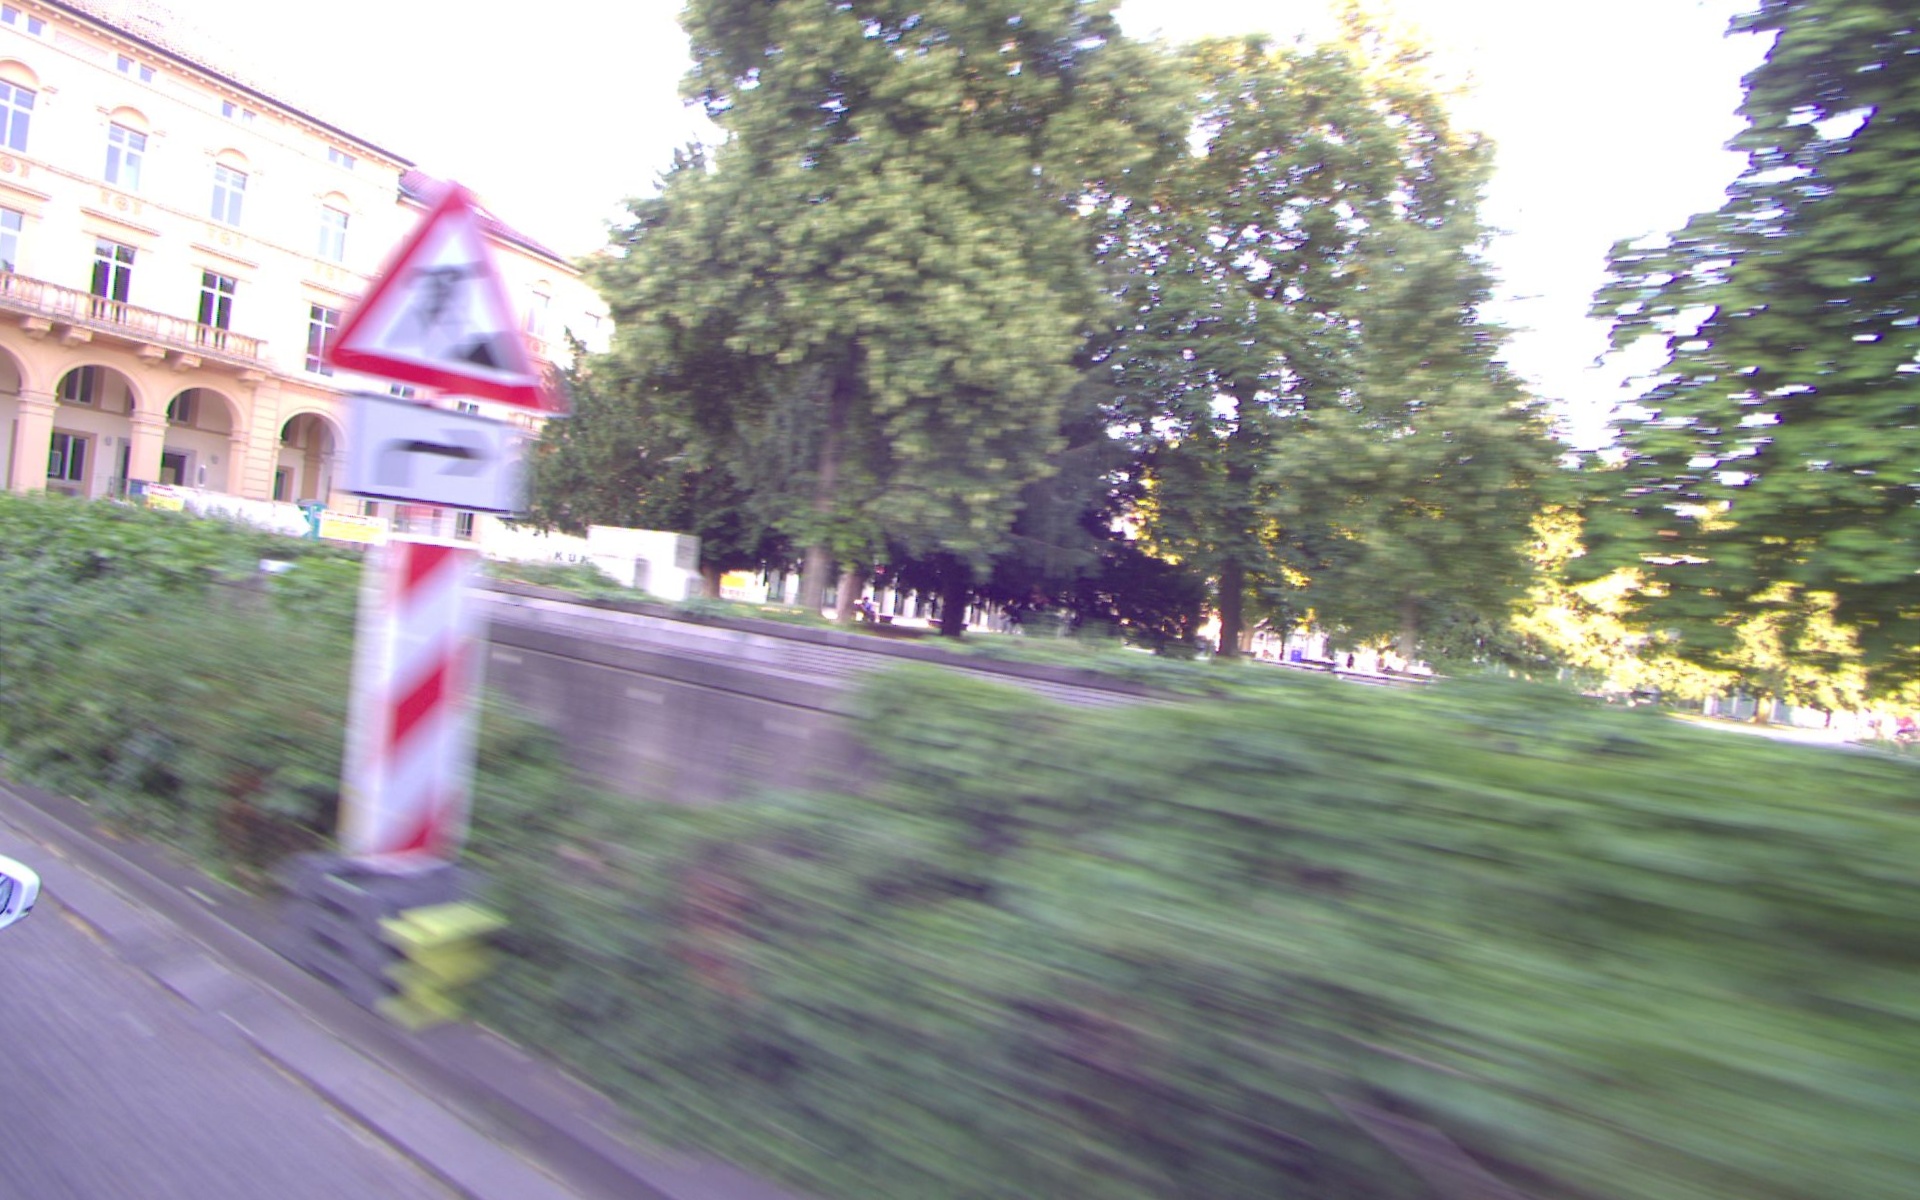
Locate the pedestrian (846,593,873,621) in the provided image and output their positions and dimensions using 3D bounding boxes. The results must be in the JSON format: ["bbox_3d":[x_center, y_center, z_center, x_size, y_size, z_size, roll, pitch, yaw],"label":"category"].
[{"bbox_3d":[-4.885,0.336,48.910,0.911,1.267,0.708,7,0,27],"label":"pedestrian"}]

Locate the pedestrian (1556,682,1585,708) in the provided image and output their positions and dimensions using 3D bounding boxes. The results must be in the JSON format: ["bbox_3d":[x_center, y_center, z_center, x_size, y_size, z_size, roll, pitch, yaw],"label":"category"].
[{"bbox_3d":[36.716,5.710,60.527,1.134,1.387,0.831,8,1,-22],"label":"pedestrian"}]

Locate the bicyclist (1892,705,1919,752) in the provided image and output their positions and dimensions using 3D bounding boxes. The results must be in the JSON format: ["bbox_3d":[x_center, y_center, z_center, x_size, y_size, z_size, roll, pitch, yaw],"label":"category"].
[{"bbox_3d":[36.204,4.890,38.400,0.648,1.652,0.676,7,1,29],"label":"bicyclist"}]

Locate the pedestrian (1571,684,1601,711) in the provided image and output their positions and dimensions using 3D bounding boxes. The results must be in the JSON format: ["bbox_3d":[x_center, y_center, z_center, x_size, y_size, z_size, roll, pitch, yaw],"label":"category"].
[{"bbox_3d":[37.122,5.766,59.668,1.134,1.387,0.831,8,1,-22],"label":"pedestrian"}]

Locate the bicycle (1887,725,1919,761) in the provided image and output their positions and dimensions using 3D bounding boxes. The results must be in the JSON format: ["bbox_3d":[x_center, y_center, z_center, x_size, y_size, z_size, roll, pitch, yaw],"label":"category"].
[{"bbox_3d":[36.127,5.433,38.385,0.556,1.191,1.772,7,0,29],"label":"bicycle"}]

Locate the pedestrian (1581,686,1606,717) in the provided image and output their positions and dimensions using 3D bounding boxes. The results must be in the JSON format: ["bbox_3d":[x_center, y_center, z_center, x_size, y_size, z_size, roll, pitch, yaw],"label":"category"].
[{"bbox_3d":[27.366,4.383,43.467,0.724,1.215,1.103,7,1,30],"label":"pedestrian"}]

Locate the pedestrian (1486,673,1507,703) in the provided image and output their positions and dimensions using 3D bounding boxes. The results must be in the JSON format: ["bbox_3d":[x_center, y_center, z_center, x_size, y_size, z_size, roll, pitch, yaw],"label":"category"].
[{"bbox_3d":[23.290,3.824,43.675,0.653,1.215,1.103,7,1,30],"label":"pedestrian"}]

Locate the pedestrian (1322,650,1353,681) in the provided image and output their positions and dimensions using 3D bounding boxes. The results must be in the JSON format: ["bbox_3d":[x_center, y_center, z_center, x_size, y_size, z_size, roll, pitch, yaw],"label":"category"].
[{"bbox_3d":[17.680,3.069,47.116,1.061,1.308,0.834,8,1,-40],"label":"pedestrian"}]
